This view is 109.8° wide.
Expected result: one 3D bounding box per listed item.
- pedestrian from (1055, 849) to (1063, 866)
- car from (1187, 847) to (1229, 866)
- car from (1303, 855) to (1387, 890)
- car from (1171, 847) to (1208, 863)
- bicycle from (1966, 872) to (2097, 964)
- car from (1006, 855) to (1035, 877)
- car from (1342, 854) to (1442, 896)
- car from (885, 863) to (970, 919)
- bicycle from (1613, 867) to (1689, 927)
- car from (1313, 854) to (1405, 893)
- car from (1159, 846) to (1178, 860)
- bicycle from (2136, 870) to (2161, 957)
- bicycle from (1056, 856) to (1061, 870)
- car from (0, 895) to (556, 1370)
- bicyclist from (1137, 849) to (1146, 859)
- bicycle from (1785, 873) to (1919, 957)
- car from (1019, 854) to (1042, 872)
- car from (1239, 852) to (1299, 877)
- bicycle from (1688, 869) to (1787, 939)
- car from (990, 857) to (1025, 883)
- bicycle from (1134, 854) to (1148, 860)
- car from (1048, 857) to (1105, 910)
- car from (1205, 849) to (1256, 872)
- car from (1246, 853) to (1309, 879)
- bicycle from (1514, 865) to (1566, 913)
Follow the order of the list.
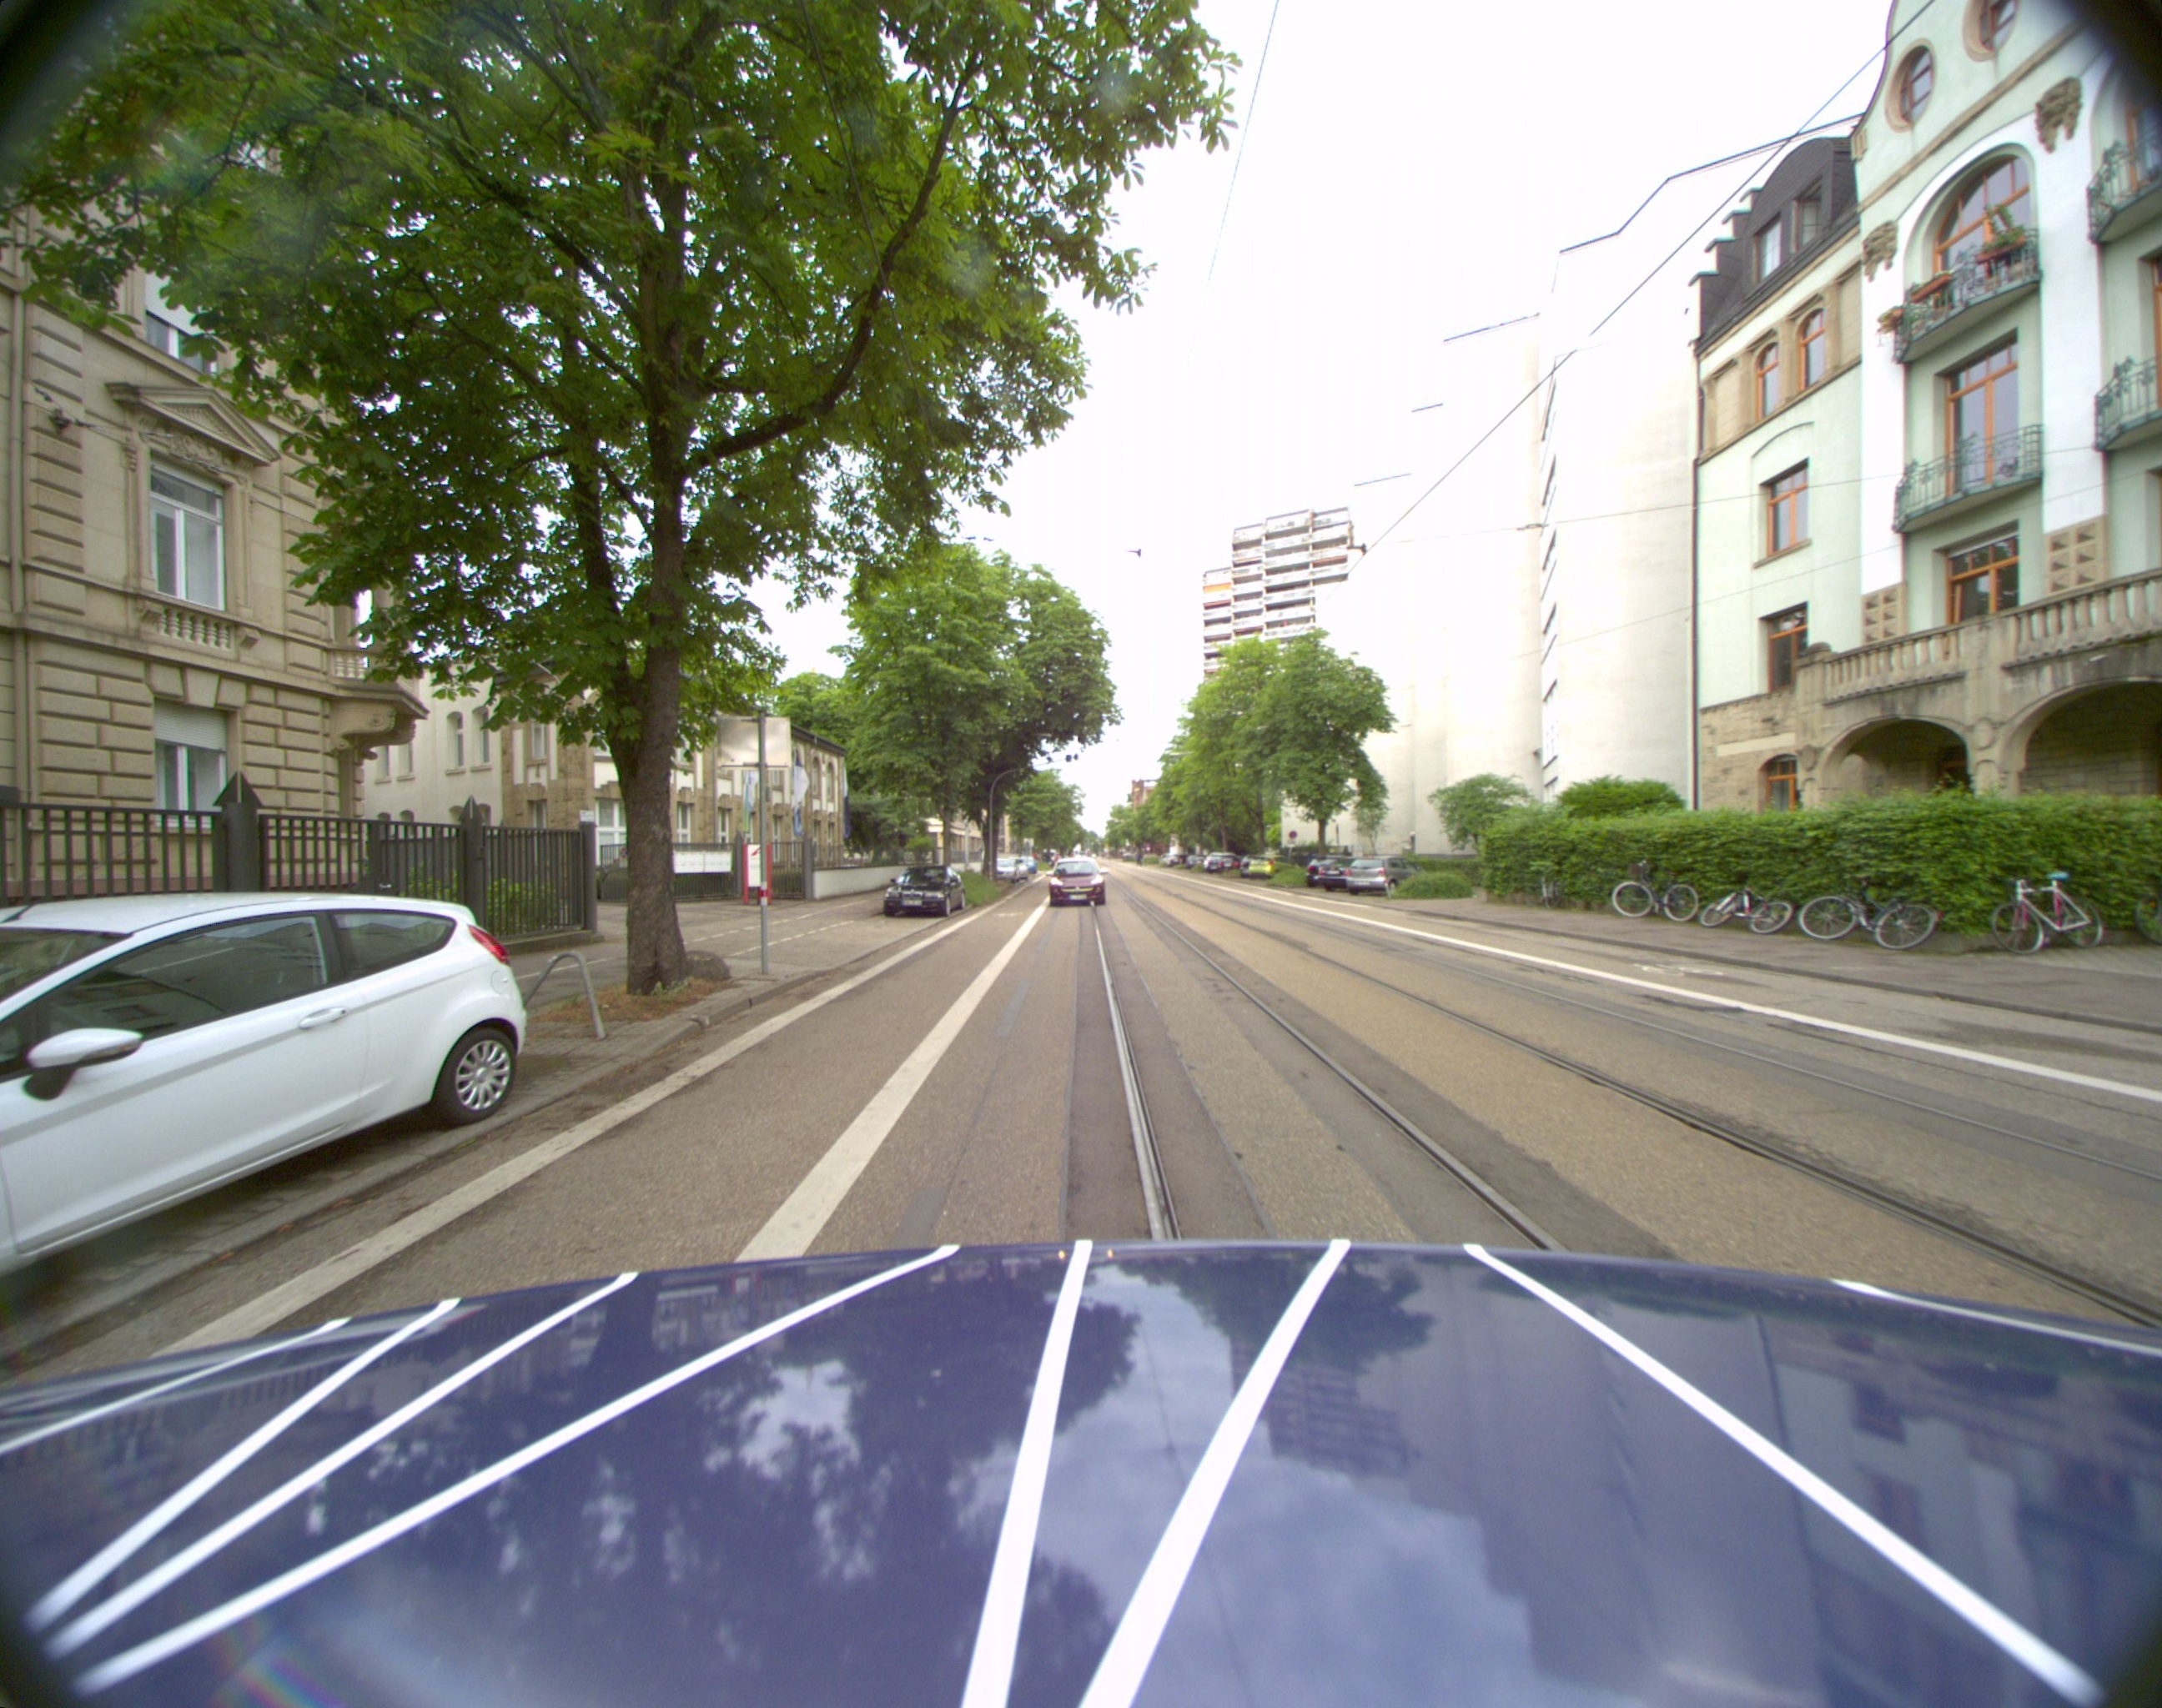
[{"bbox_3d":[-1.965,0.296,67.151,0.684,1.541,0.704,-1,1,1],"label":"pedestrian"},{"bbox_3d":[11.814,0.205,70.452,4.008,1.611,1.690,-1,1,-43],"label":"car"},{"bbox_3d":[11.882,0.794,34.096,4.008,1.395,1.691,-1,1,-39],"label":"car"},{"bbox_3d":[11.479,0.121,80.287,4.008,1.611,1.690,-1,1,-43],"label":"car"},{"bbox_3d":[12.047,0.805,9.638,1.205,1.077,0.300,-3,1,2],"label":"bicycle"},{"bbox_3d":[-4.073,0.797,51.485,1.606,1.416,3.836,1,1,1],"label":"car"},{"bbox_3d":[11.540,0.722,28.097,4.008,1.395,1.691,-1,1,-39],"label":"car"},{"bbox_3d":[-4.267,0.994,21.690,1.606,1.362,3.836,1,1,1],"label":"car"},{"bbox_3d":[11.229,0.823,15.022,0.360,1.077,1.546,-1,1,0],"label":"bicycle"},{"bbox_3d":[11.372,0.749,30.932,4.008,1.395,1.691,-1,1,-39],"label":"car"},{"bbox_3d":[10.442,-0.163,90.584,1.694,1.611,3.999,-1,1,-1],"label":"car"},{"bbox_3d":[14.217,0.730,9.625,1.205,1.077,0.300,-3,1,2],"label":"bicycle"},{"bbox_3d":[-1.991,0.825,67.245,0.414,1.197,1.706,-1,1,1],"label":"bicycle"},{"bbox_3d":[-4.462,1.021,3.367,1.631,1.427,3.764,1,1,1],"label":"car"},{"bbox_3d":[7.735,-0.007,96.803,0.877,1.247,0.750,-2,1,-32],"label":"bicyclist"},{"bbox_3d":[11.068,0.844,10.975,0.360,1.077,1.546,-1,1,0],"label":"bicycle"},{"bbox_3d":[-4.230,0.724,63.916,1.606,1.362,3.836,1,1,1],"label":"car"},{"bbox_3d":[11.726,0.627,47.319,4.008,1.434,1.690,-1,1,-43],"label":"car"},{"bbox_3d":[11.130,0.823,12.941,0.360,1.077,1.546,-1,1,0],"label":"bicycle"},{"bbox_3d":[-4.248,0.916,44.145,1.606,1.362,3.836,1,1,1],"label":"car"},{"bbox_3d":[7.638,0.353,96.777,1.893,0.784,0.567,-1,1,-32],"label":"bicycle"},{"bbox_3d":[-0.073,0.875,24.166,1.606,1.427,3.776,-3,0,1],"label":"car"},{"bbox_3d":[11.241,0.478,57.045,4.008,1.611,1.690,-1,1,-43],"label":"car"},{"bbox_3d":[11.481,0.647,44.270,4.008,1.387,1.690,-1,1,-43],"label":"car"},{"bbox_3d":[11.189,0.837,18.563,0.360,1.077,1.546,-1,1,0],"label":"bicycle"}]
